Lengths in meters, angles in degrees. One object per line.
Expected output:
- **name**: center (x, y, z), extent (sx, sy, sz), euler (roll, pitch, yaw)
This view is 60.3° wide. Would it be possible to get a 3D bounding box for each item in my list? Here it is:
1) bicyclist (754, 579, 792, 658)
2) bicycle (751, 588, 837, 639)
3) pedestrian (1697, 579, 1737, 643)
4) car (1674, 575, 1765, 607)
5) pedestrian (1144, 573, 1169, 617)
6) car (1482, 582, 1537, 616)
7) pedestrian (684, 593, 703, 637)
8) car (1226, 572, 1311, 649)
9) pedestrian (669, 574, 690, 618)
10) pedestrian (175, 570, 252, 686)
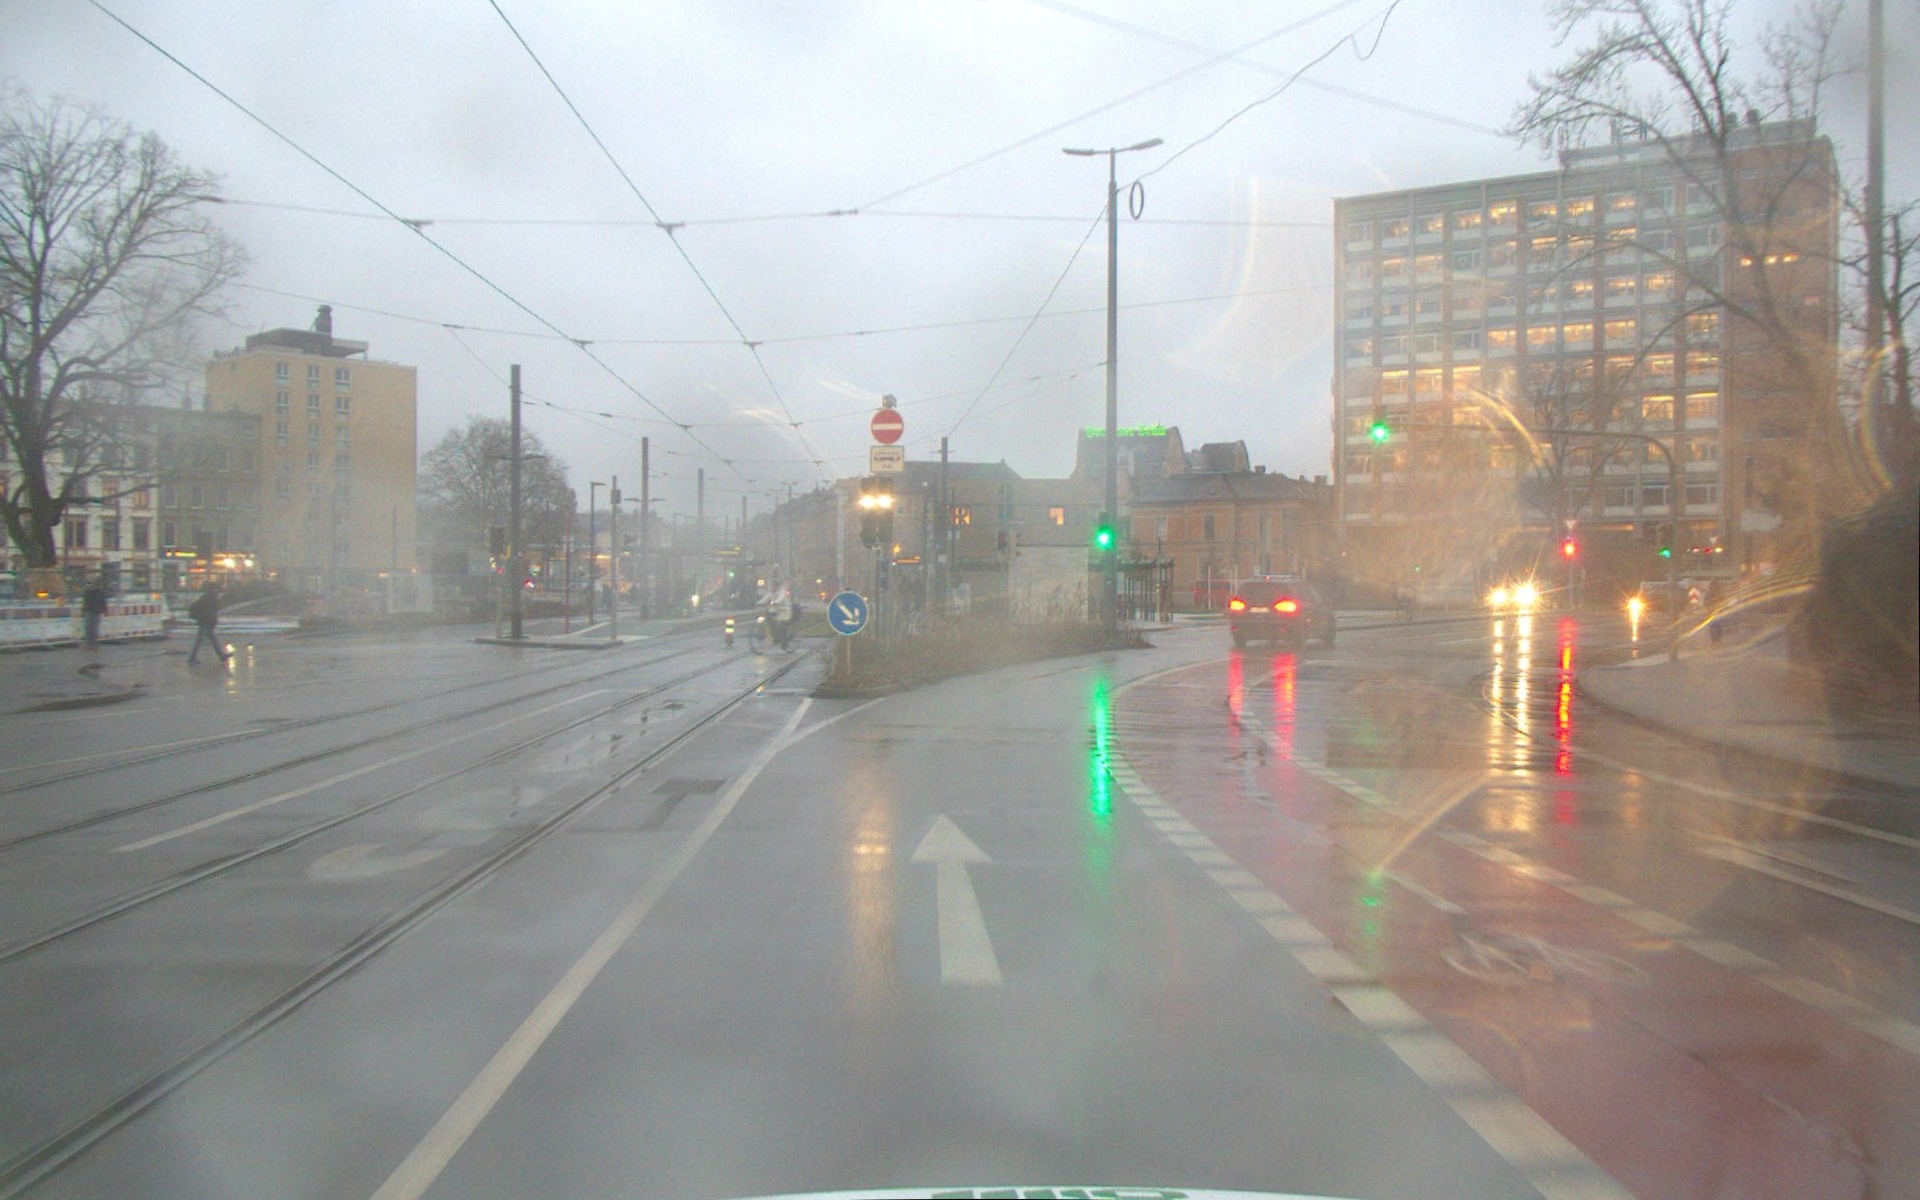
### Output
- **bicyclist**: center (-4.324, 0.419, 38.214), extent (0.601, 1.798, 0.585), euler (1, 0, 42)
- **bicycle**: center (-3.868, 0.295, 38.771), extent (0.617, 1.093, 2.198), euler (1, 2, 40)
- **pedestrian**: center (20.946, 0.294, 45.775), extent (0.788, 1.714, 1.157), euler (-2, 0, 16)
- **car**: center (52.981, -0.649, 115.385), extent (5.460, 2.059, 1.990), euler (2, 0, 39)
- **pedestrian**: center (7.646, -0.185, 64.387), extent (0.662, 1.703, 0.727), euler (1, 0, 36)
- **car**: center (28.876, -0.069, 86.784), extent (1.722, 1.691, 4.519), euler (-1, 0, 32)
- **pedestrian**: center (-11.214, 0.638, 69.608), extent (0.698, 1.837, 0.717), euler (1, 0, -1)
- **car**: center (8.144, 0.231, 43.501), extent (1.613, 1.850, 4.002), euler (1, 2, 19)
- **pedestrian**: center (-11.421, -0.172, 67.364), extent (0.698, 1.788, 0.717), euler (1, 0, -1)
- **pedestrian**: center (-15.976, 0.594, 35.402), extent (0.975, 2.412, 1.063), euler (1, 0, 28)
